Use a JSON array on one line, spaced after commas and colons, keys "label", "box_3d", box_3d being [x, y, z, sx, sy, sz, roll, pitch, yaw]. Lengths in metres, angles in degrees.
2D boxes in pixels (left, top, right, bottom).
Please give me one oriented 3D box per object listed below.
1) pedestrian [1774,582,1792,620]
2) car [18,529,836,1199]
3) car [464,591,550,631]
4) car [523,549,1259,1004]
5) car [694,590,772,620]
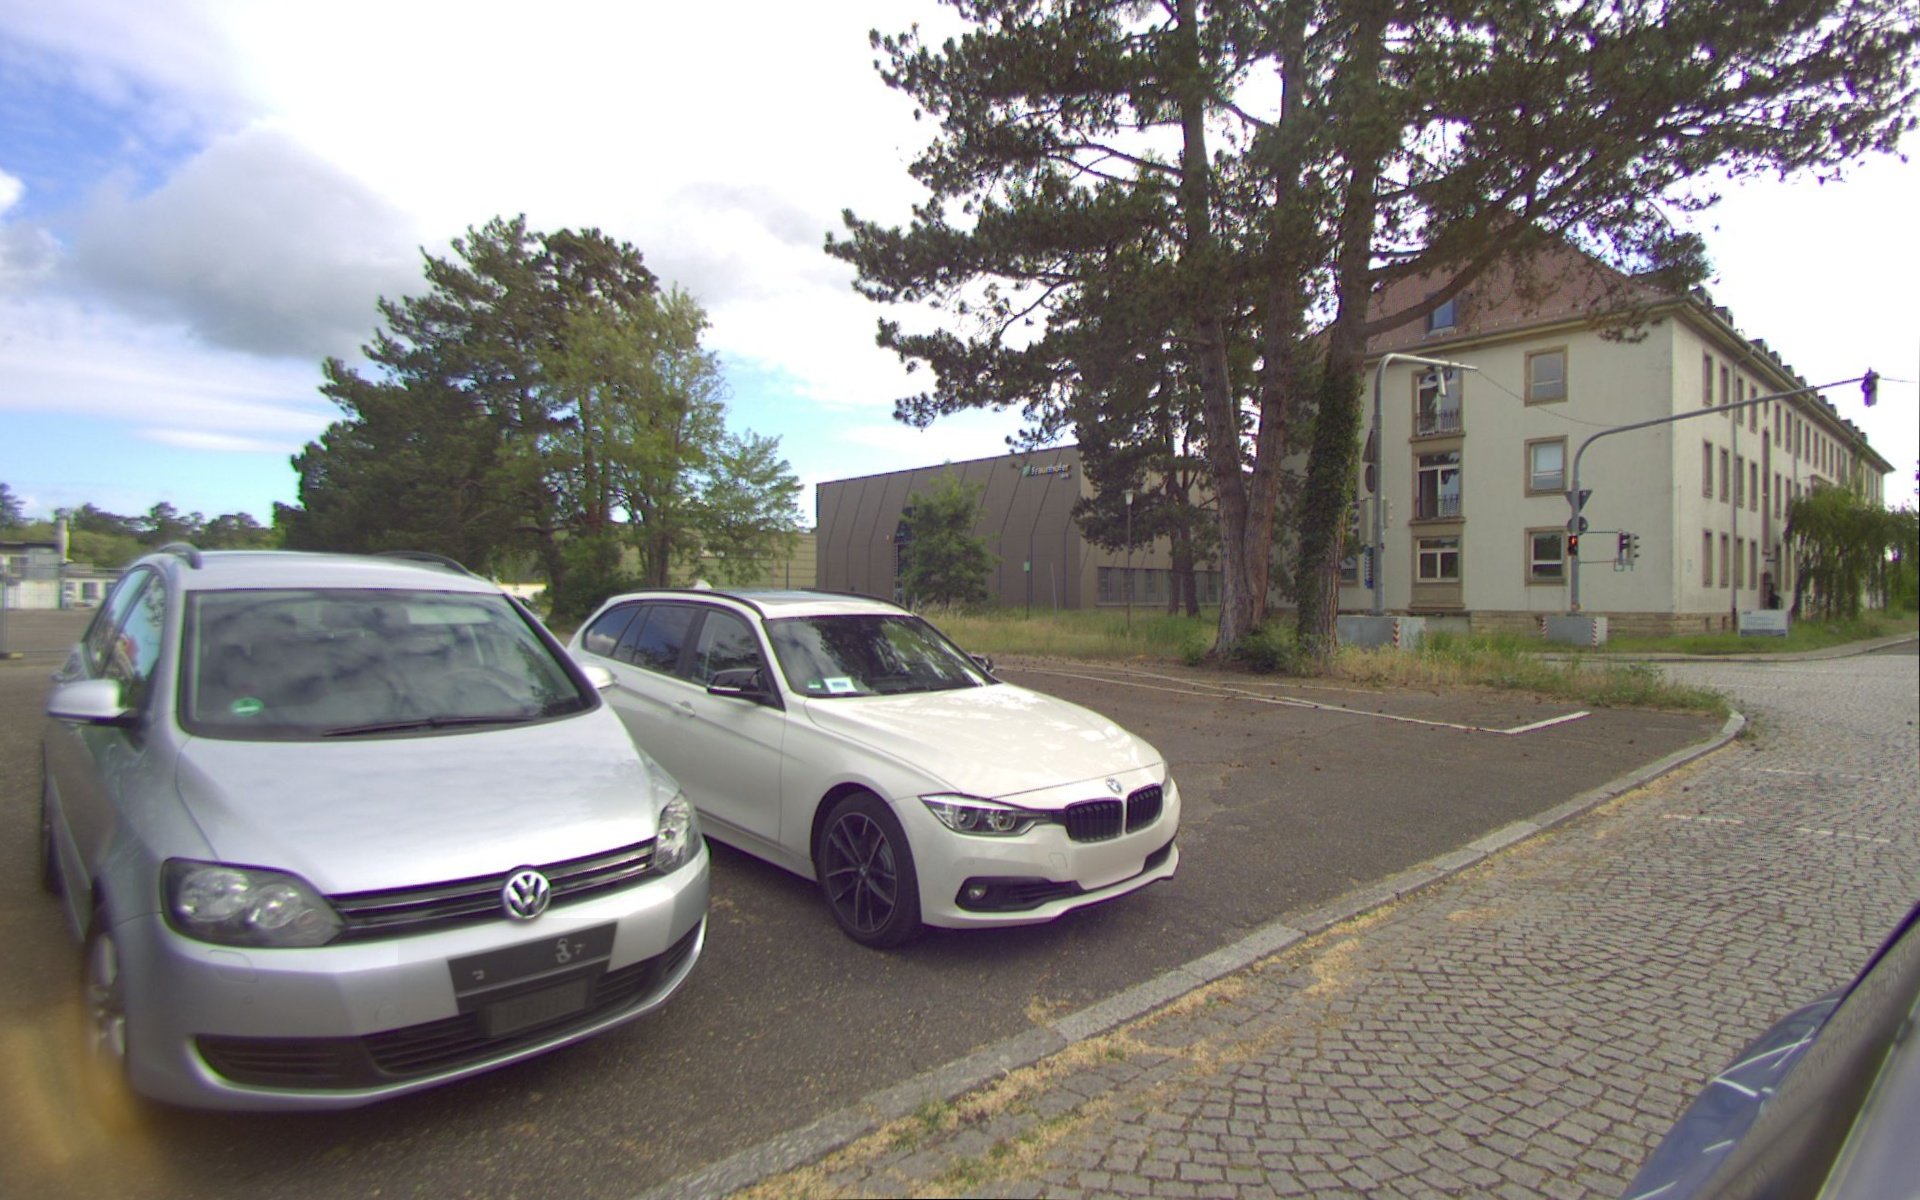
[{"label": "pedestrian", "box_3d": [38.120, 0.044, 46.876, 0.522, 1.722, 0.568, 1, -1, -38]}, {"label": "car", "box_3d": [-2.582, 0.568, 4.240, 1.855, 1.616, 4.243, 0, 3, -45]}, {"label": "car", "box_3d": [-18.226, 0.409, 40.636, 1.940, 1.501, 3.989, 0, 0, -44]}, {"label": "car", "box_3d": [-0.771, 0.568, 5.979, 1.874, 1.585, 4.498, 0, 3, -44]}, {"label": "car", "box_3d": [-14.320, 0.301, 63.929, 4.401, 1.854, 1.996, 0, 0, -43]}]
